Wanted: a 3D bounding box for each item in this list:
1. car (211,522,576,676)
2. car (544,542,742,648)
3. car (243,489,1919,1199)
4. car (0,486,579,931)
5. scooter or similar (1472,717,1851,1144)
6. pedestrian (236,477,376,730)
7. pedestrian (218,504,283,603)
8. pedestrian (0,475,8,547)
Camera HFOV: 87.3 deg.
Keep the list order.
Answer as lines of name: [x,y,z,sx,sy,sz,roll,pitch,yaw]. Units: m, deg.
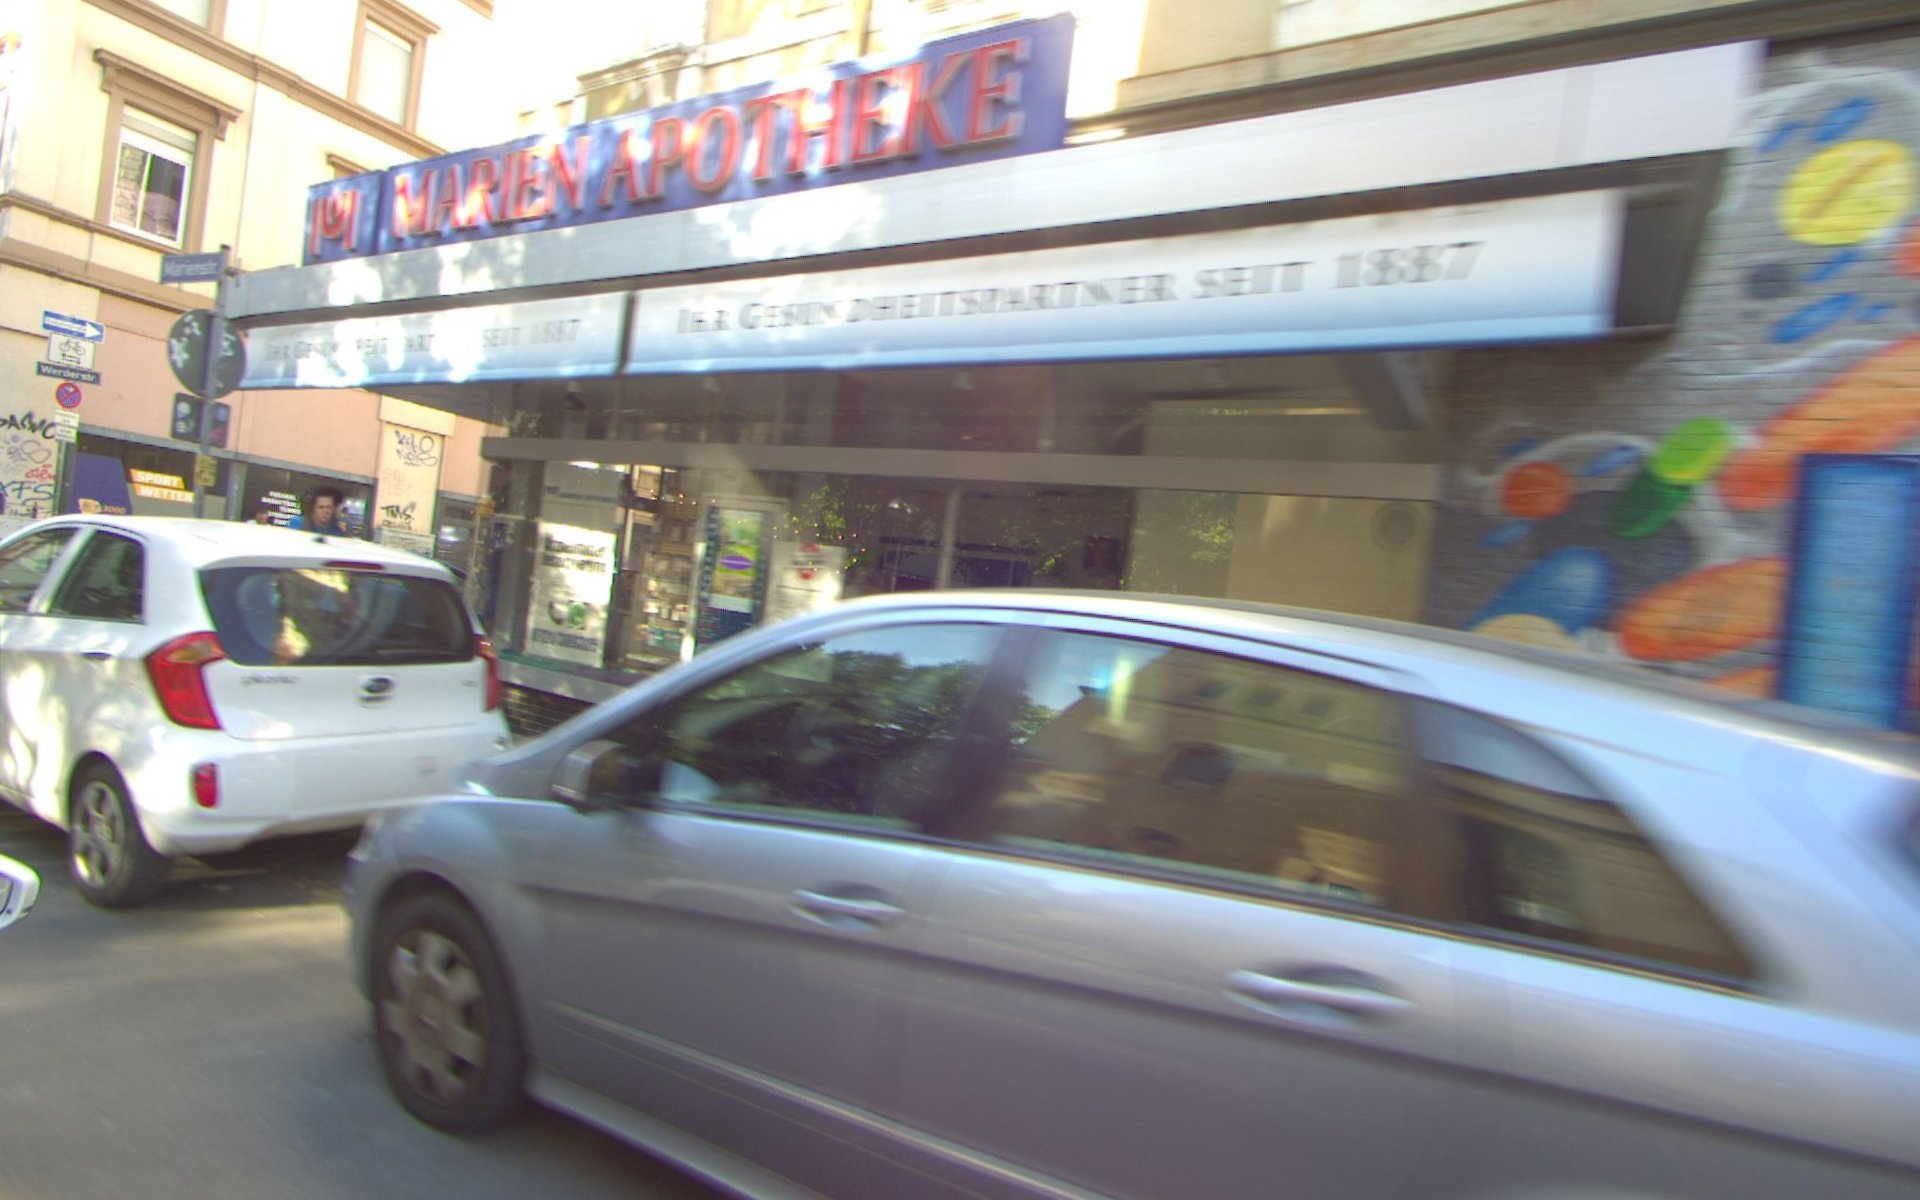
car: [-7.085,0.069,12.921,1.759,1.504,3.579,7,-1,32]
car: [-7.228,-0.057,23.272,1.837,1.863,3.931,10,1,32]
car: [0.281,0.789,2.590,4.413,1.669,1.802,6,-2,32]
car: [-3.918,0.316,5.090,3.578,1.479,1.693,6,-2,29]
scooter or similar: [2.614,1.167,3.842,1.020,1.294,0.395,6,-1,32]
pedestrian: [-5.202,0.036,8.014,0.521,1.916,0.563,7,-1,31]
pedestrian: [-13.311,-0.863,18.887,0.467,1.746,0.692,7,-1,31]
pedestrian: [-15.330,-1.157,15.590,0.594,1.671,0.461,8,2,-27]
